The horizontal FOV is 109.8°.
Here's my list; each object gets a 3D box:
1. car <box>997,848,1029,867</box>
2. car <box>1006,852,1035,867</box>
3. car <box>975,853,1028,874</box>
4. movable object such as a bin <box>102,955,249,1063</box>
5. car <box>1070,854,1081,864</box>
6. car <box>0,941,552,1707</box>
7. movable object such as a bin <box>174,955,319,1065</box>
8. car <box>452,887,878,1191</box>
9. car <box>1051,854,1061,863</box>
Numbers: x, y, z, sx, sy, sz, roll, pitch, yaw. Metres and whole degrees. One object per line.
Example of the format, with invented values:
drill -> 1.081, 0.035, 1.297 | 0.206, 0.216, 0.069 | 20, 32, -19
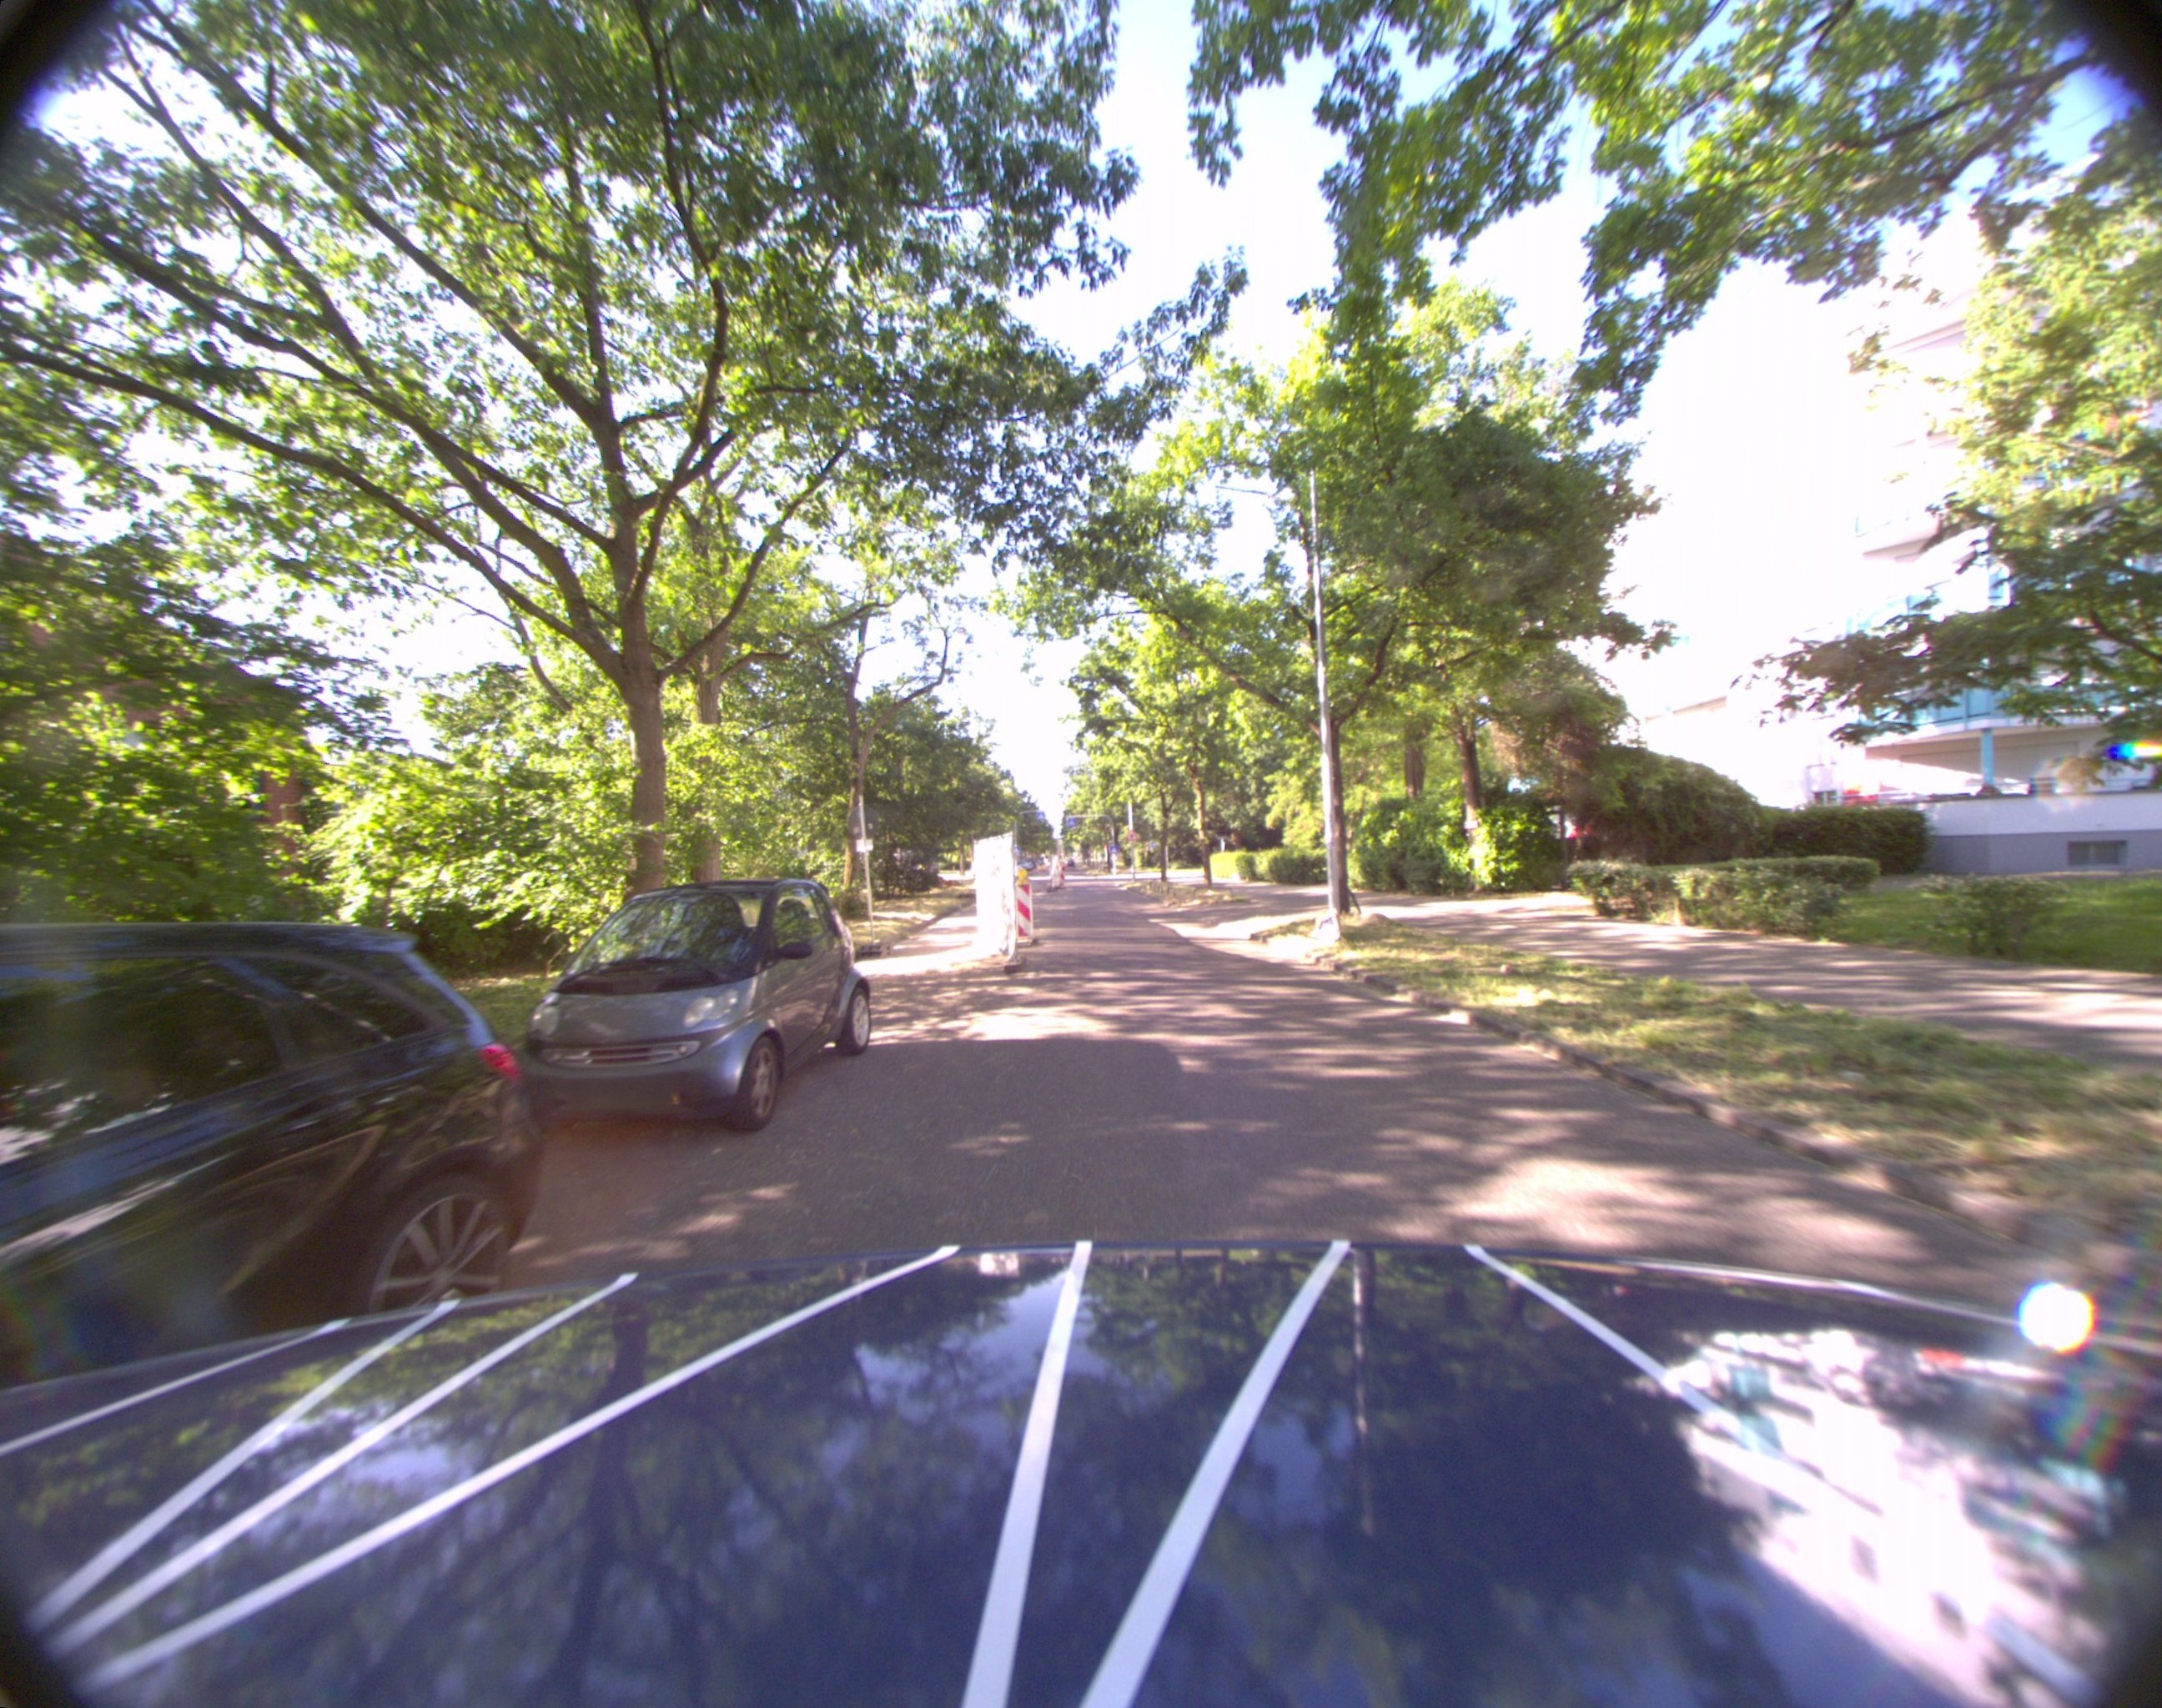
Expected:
car -> -9.470, 0.449, 106.046 | 4.412, 2.531, 1.888 | -1, 0, -5
car -> -8.861, 0.811, 111.321 | 4.245, 1.993, 1.565 | -1, 0, -5
car -> -8.210, 0.993, 78.643 | 5.270, 1.993, 2.000 | -1, 0, -3
movable object such as a bin -> -8.357, 1.418, 7.032 | 0.727, 0.877, 0.462 | 0, 7, 5
car -> -1.123, 1.045, 149.059 | 1.998, 1.805, 4.000 | -3, 0, 1
car -> -2.791, 1.112, 0.767 | 1.717, 1.500, 4.148 | -3, 0, -3
movable object such as a bin -> -7.622, 1.413, 6.960 | 0.727, 0.877, 0.462 | 0, 7, 5
car -> -2.661, 1.087, 5.535 | 1.497, 1.500, 2.677 | -3, 0, 2
car -> -5.344, 0.962, 162.154 | 1.998, 1.871, 4.000 | 0, 0, 0
